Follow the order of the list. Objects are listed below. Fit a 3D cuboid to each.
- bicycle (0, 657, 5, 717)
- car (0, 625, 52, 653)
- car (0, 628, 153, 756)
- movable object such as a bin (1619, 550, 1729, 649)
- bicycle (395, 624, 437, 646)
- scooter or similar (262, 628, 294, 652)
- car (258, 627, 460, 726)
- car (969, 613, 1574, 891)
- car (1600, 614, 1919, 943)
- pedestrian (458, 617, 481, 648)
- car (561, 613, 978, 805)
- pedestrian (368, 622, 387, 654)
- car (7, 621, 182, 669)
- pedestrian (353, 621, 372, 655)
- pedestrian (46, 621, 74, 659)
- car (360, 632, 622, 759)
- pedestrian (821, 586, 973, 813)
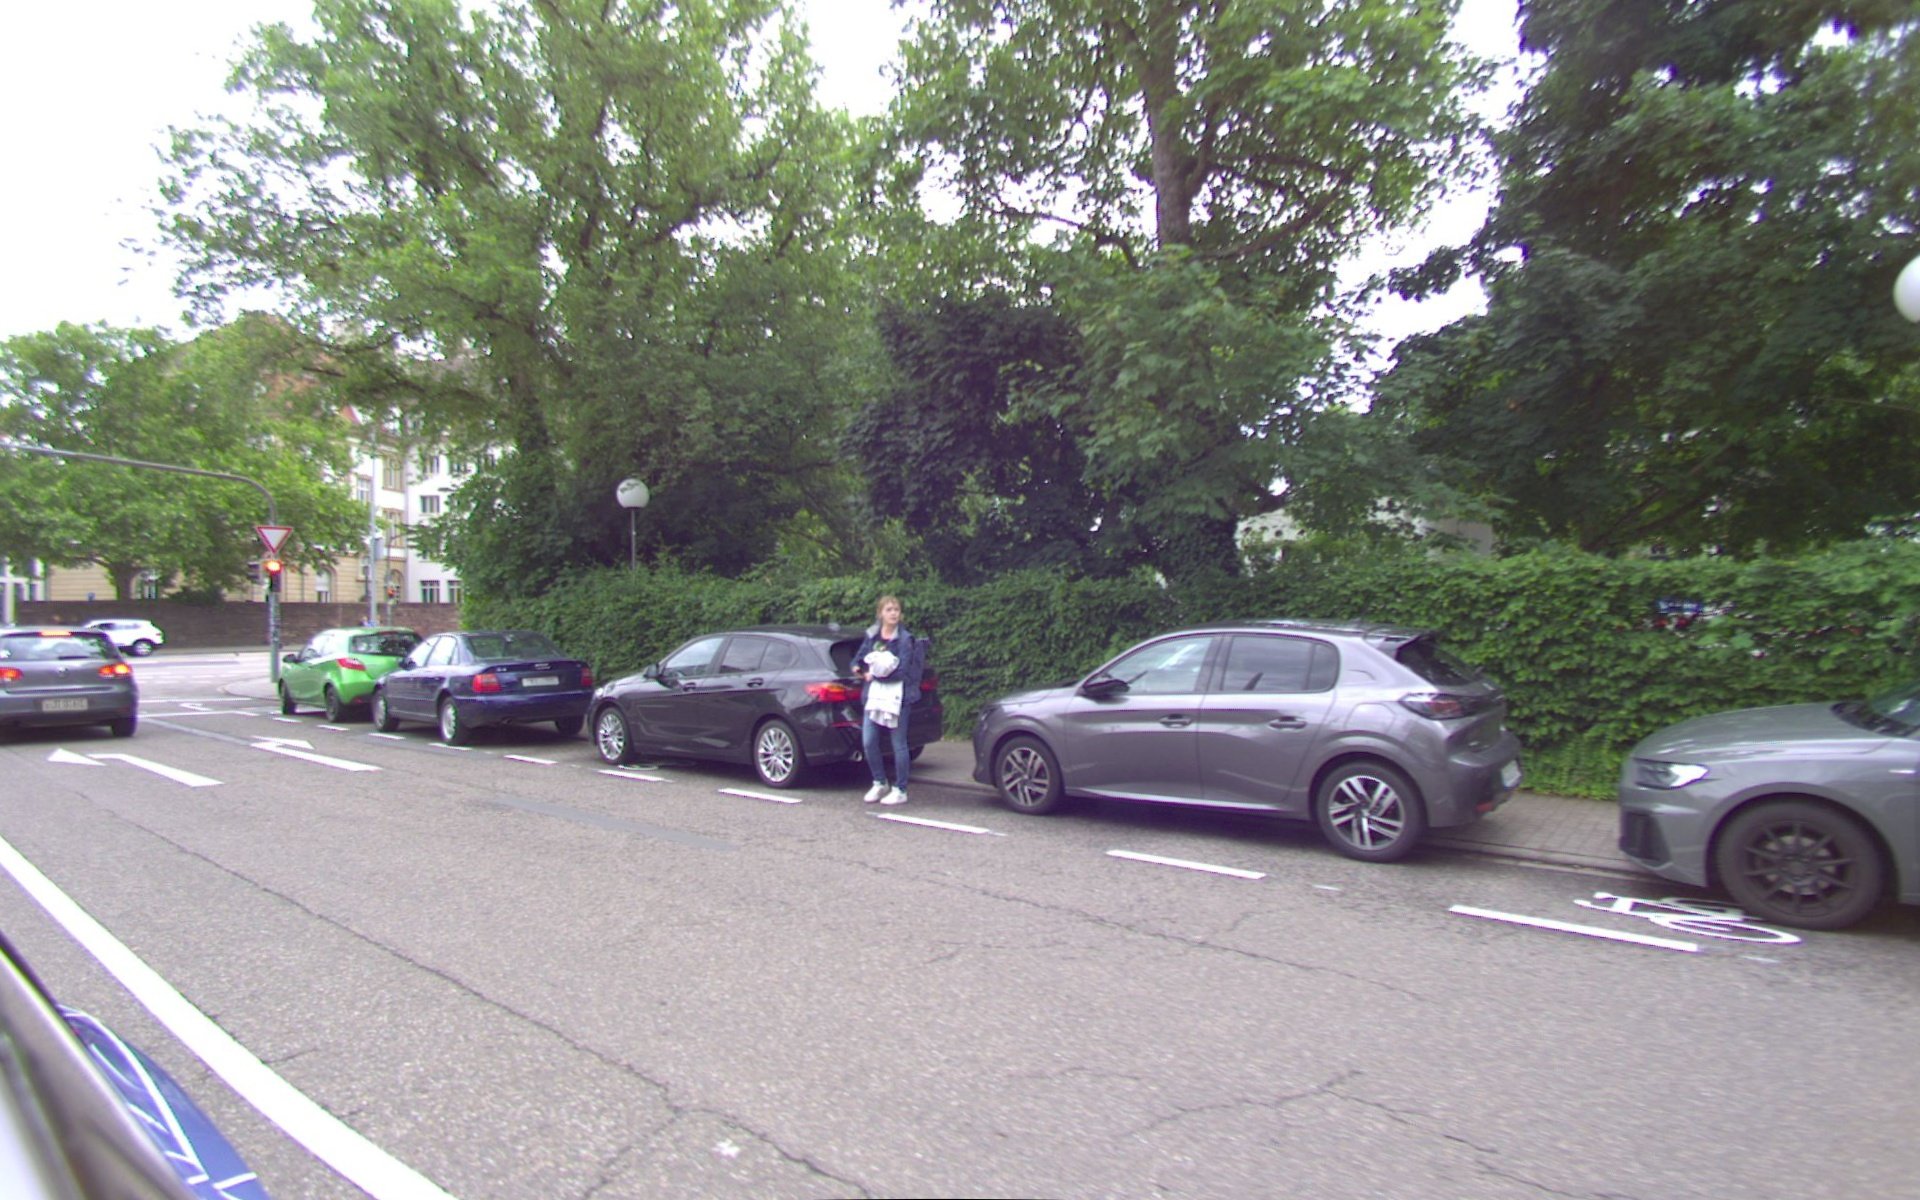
[{"bbox_3d":[-17.649,1.526,17.907,1.852,1.045,0.652,-1,-2,33],"label":"bicycle"},{"bbox_3d":[-68.372,2.839,72.685,1.977,1.592,4.394,-11,-1,6],"label":"car"},{"bbox_3d":[-12.617,1.139,13.758,4.164,1.508,1.765,-1,-2,40],"label":"car"},{"bbox_3d":[17.556,0.079,24.882,1.996,2.188,4.613,-2,-3,36],"label":"movable object such as a bin"},{"bbox_3d":[-31.910,2.043,59.389,0.581,1.194,2.133,1,-1,31],"label":"bicycle"},{"bbox_3d":[-36.200,2.097,53.712,1.389,1.239,0.496,1,0,-31],"label":"scooter or similar"},{"bbox_3d":[-10.336,1.207,17.288,4.247,1.481,1.778,-1,-2,42],"label":"car"},{"bbox_3d":[2.083,0.858,7.323,3.821,1.482,1.744,-1,-2,40],"label":"car"},{"bbox_3d":[5.362,0.761,4.567,4.003,1.422,1.746,-2,-2,39],"label":"car"},{"bbox_3d":[-29.028,1.912,59.888,0.757,1.802,0.994,0,-1,39],"label":"pedestrian"},{"bbox_3d":[-2.131,0.982,10.463,4.526,1.573,1.779,-2,-3,40],"label":"car"},{"bbox_3d":[-31.714,2.052,55.090,0.778,1.706,0.634,0,-1,38],"label":"pedestrian"},{"bbox_3d":[-36.364,1.872,42.644,2.045,1.710,5.306,-4,-2,38],"label":"car"},{"bbox_3d":[-32.197,2.040,54.518,0.734,1.752,0.662,0,-1,37],"label":"pedestrian"},{"bbox_3d":[-40.870,1.799,45.945,0.789,1.677,0.799,-5,-4,36],"label":"pedestrian"},{"bbox_3d":[-6.473,1.157,13.733,4.337,1.419,1.778,-1,-2,44],"label":"car"},{"bbox_3d":[-0.510,0.757,8.070,0.967,1.674,0.731,-3,-3,41],"label":"pedestrian"}]
